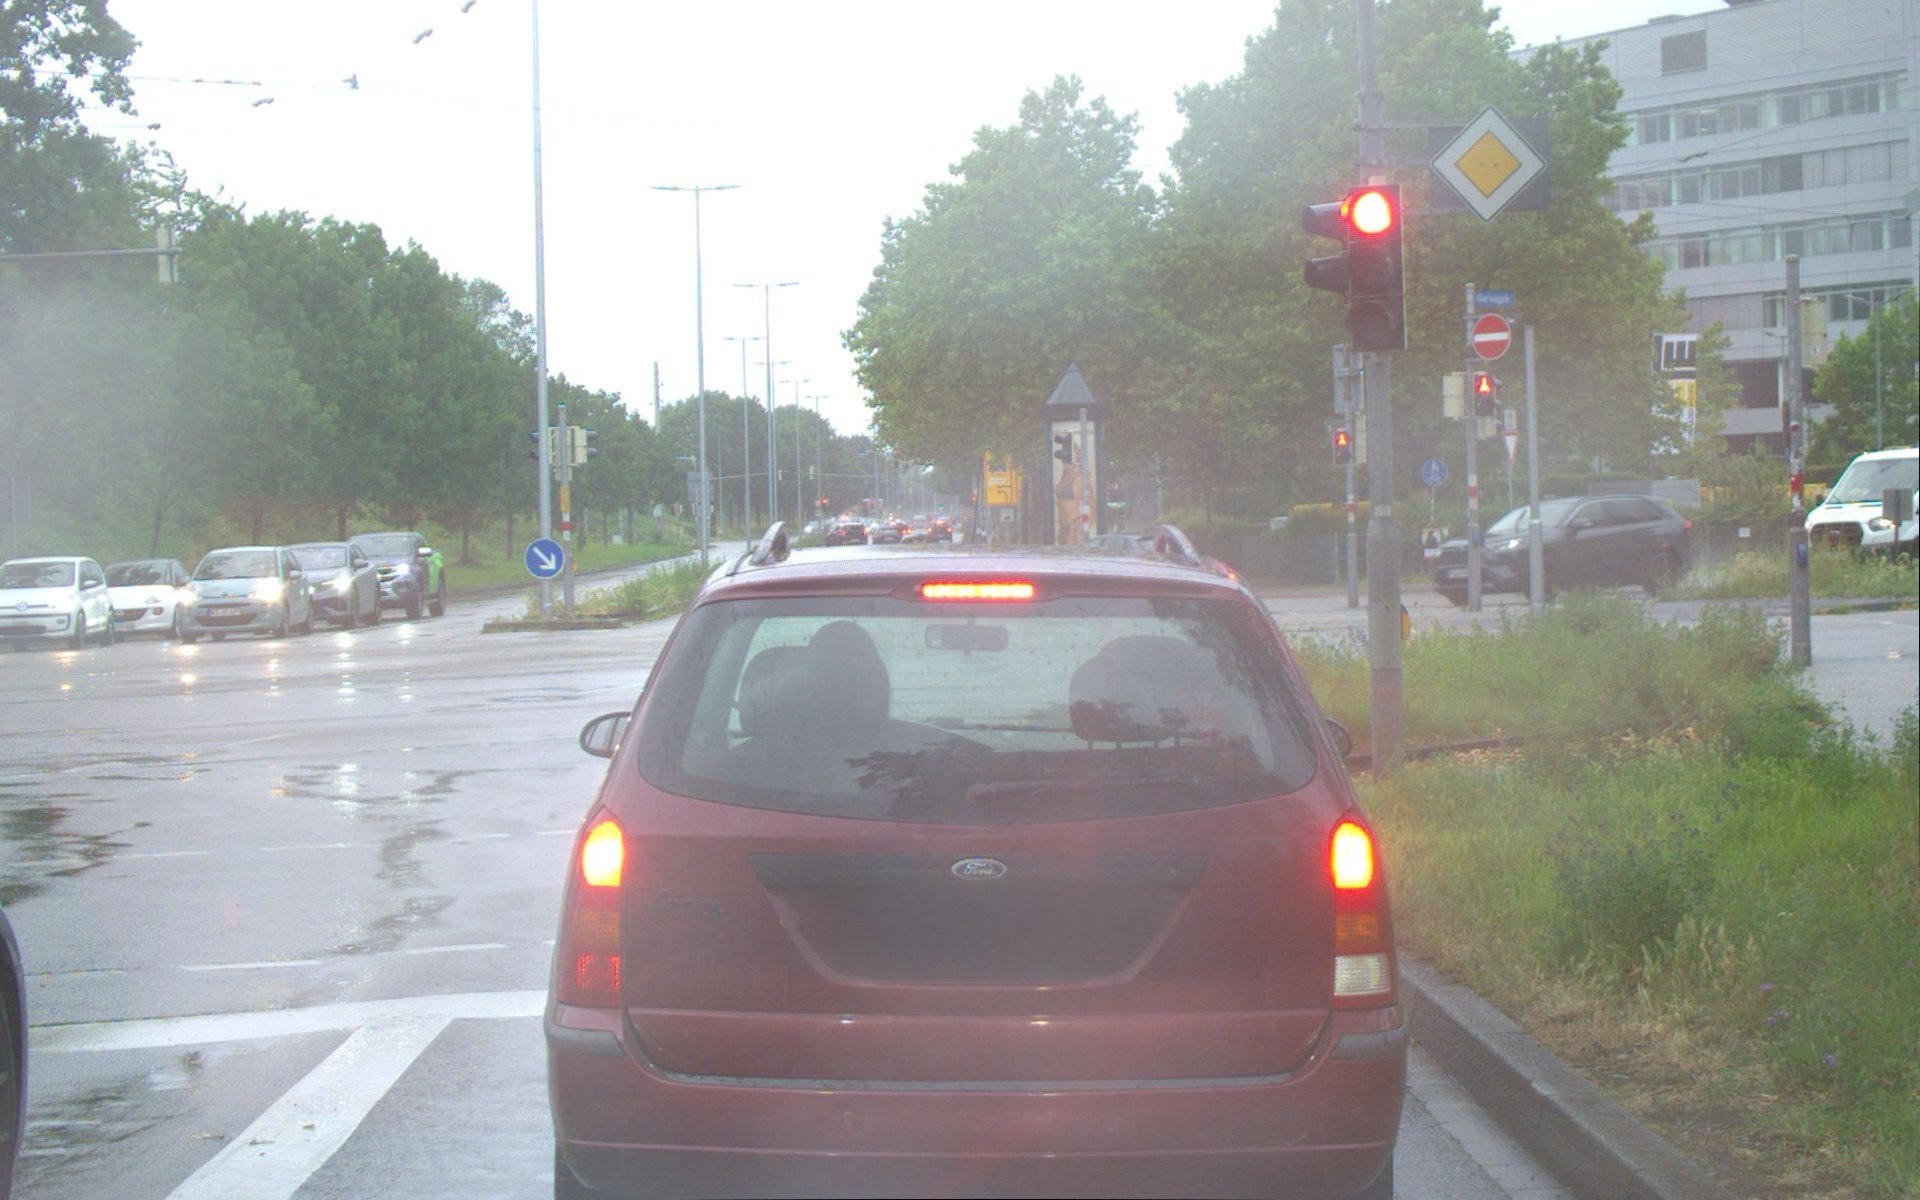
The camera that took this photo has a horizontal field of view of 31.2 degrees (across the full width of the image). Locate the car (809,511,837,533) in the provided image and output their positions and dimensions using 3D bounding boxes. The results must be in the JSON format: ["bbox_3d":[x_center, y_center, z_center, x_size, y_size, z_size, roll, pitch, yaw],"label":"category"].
[{"bbox_3d":[-9.740,-5.553,244.560,1.698,1.522,3.846,-1,1,1],"label":"car"}]

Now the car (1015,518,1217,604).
[{"bbox_3d":[3.306,-0.840,73.268,1.995,1.784,3.998,0,1,-44],"label":"car"}]

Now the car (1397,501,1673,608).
[{"bbox_3d":[8.955,-0.719,53.393,4.234,1.554,1.746,-2,1,-37],"label":"car"}]

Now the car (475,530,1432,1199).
[{"bbox_3d":[-0.061,0.608,7.819,1.642,1.460,3.733,1,0,-2],"label":"car"}]

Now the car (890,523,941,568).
[{"bbox_3d":[-1.567,-1.939,121.861,1.671,1.522,3.846,-1,1,1],"label":"car"}]

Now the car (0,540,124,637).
[{"bbox_3d":[-14.624,-0.204,55.109,1.638,1.447,3.788,-2,1,-3],"label":"car"}]

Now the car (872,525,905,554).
[{"bbox_3d":[-3.915,-3.314,188.841,1.698,1.522,3.846,-1,1,1],"label":"car"}]

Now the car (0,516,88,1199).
[{"bbox_3d":[-2.678,0.653,4.873,1.769,1.568,4.822,1,1,-2],"label":"car"}]

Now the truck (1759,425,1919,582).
[{"bbox_3d":[15.973,-1.560,54.680,6.847,2.357,2.482,-2,1,-37],"label":"truck"}]

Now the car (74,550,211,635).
[{"bbox_3d":[-14.572,-0.154,61.436,1.590,1.399,3.823,-2,1,-2],"label":"car"}]

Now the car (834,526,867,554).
[{"bbox_3d":[-6.319,-3.476,199.067,1.698,1.522,3.846,-1,1,1],"label":"car"}]

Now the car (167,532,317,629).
[{"bbox_3d":[-11.682,-0.347,56.151,1.638,1.468,3.965,-2,1,-1],"label":"car"}]

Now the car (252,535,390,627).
[{"bbox_3d":[-11.730,-0.360,63.392,1.762,1.580,4.814,-2,1,-2],"label":"car"}]

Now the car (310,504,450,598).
[{"bbox_3d":[-12.000,-1.048,71.484,2.065,1.813,5.542,-2,1,-2],"label":"car"}]

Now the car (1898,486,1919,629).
[{"bbox_3d":[12.921,-0.524,38.950,4.611,1.581,1.927,-2,1,-36],"label":"car"}]
